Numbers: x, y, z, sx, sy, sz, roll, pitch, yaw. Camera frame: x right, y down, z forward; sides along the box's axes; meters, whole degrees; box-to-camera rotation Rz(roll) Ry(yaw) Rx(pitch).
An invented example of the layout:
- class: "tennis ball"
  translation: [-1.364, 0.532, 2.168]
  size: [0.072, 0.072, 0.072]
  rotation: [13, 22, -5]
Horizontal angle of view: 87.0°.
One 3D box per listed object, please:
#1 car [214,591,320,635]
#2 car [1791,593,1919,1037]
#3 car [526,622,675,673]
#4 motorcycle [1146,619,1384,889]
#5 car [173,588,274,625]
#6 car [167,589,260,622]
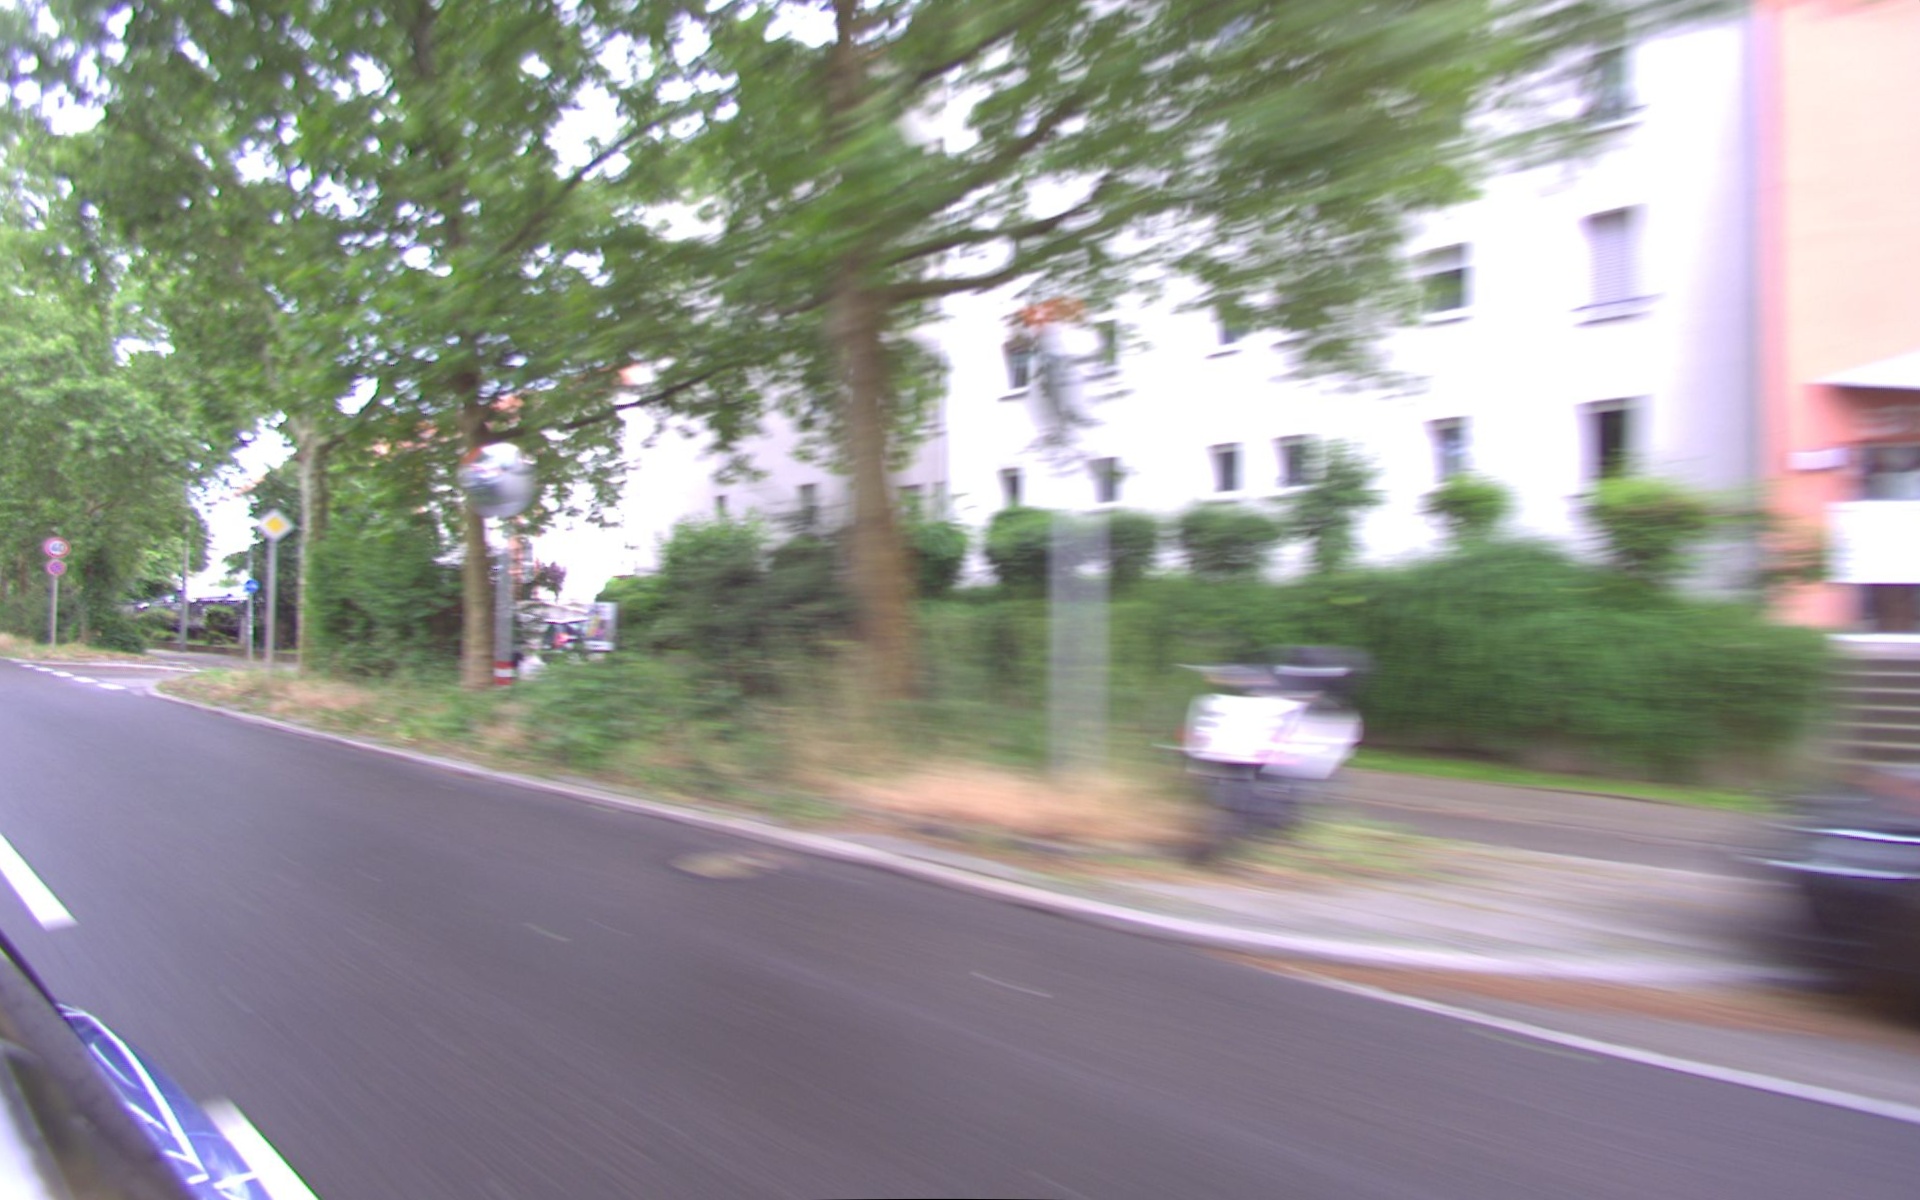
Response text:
- class: "car"
  translation: [-33.384, 0.652, 48.799]
  size: [3.940, 2.029, 1.958]
  rotation: [2, -2, -44]
- class: "car"
  translation: [5.445, 0.702, 2.804]
  size: [4.799, 1.521, 1.700]
  rotation: [-1, -1, 39]
- class: "car"
  translation: [-11.124, 1.422, 31.439]
  size: [3.939, 1.488, 1.909]
  rotation: [1, -2, -43]
- class: "motorcycle"
  translation: [1.843, 0.808, 5.962]
  size: [0.722, 1.350, 1.695]
  rotation: [-1, -3, 41]
- class: "car"
  translation: [-38.733, 0.367, 53.296]
  size: [1.958, 1.808, 3.945]
  rotation: [-1, -2, 41]
- class: "car"
  translation: [-40.583, 0.284, 55.066]
  size: [1.736, 1.701, 3.756]
  rotation: [0, 0, 38]
